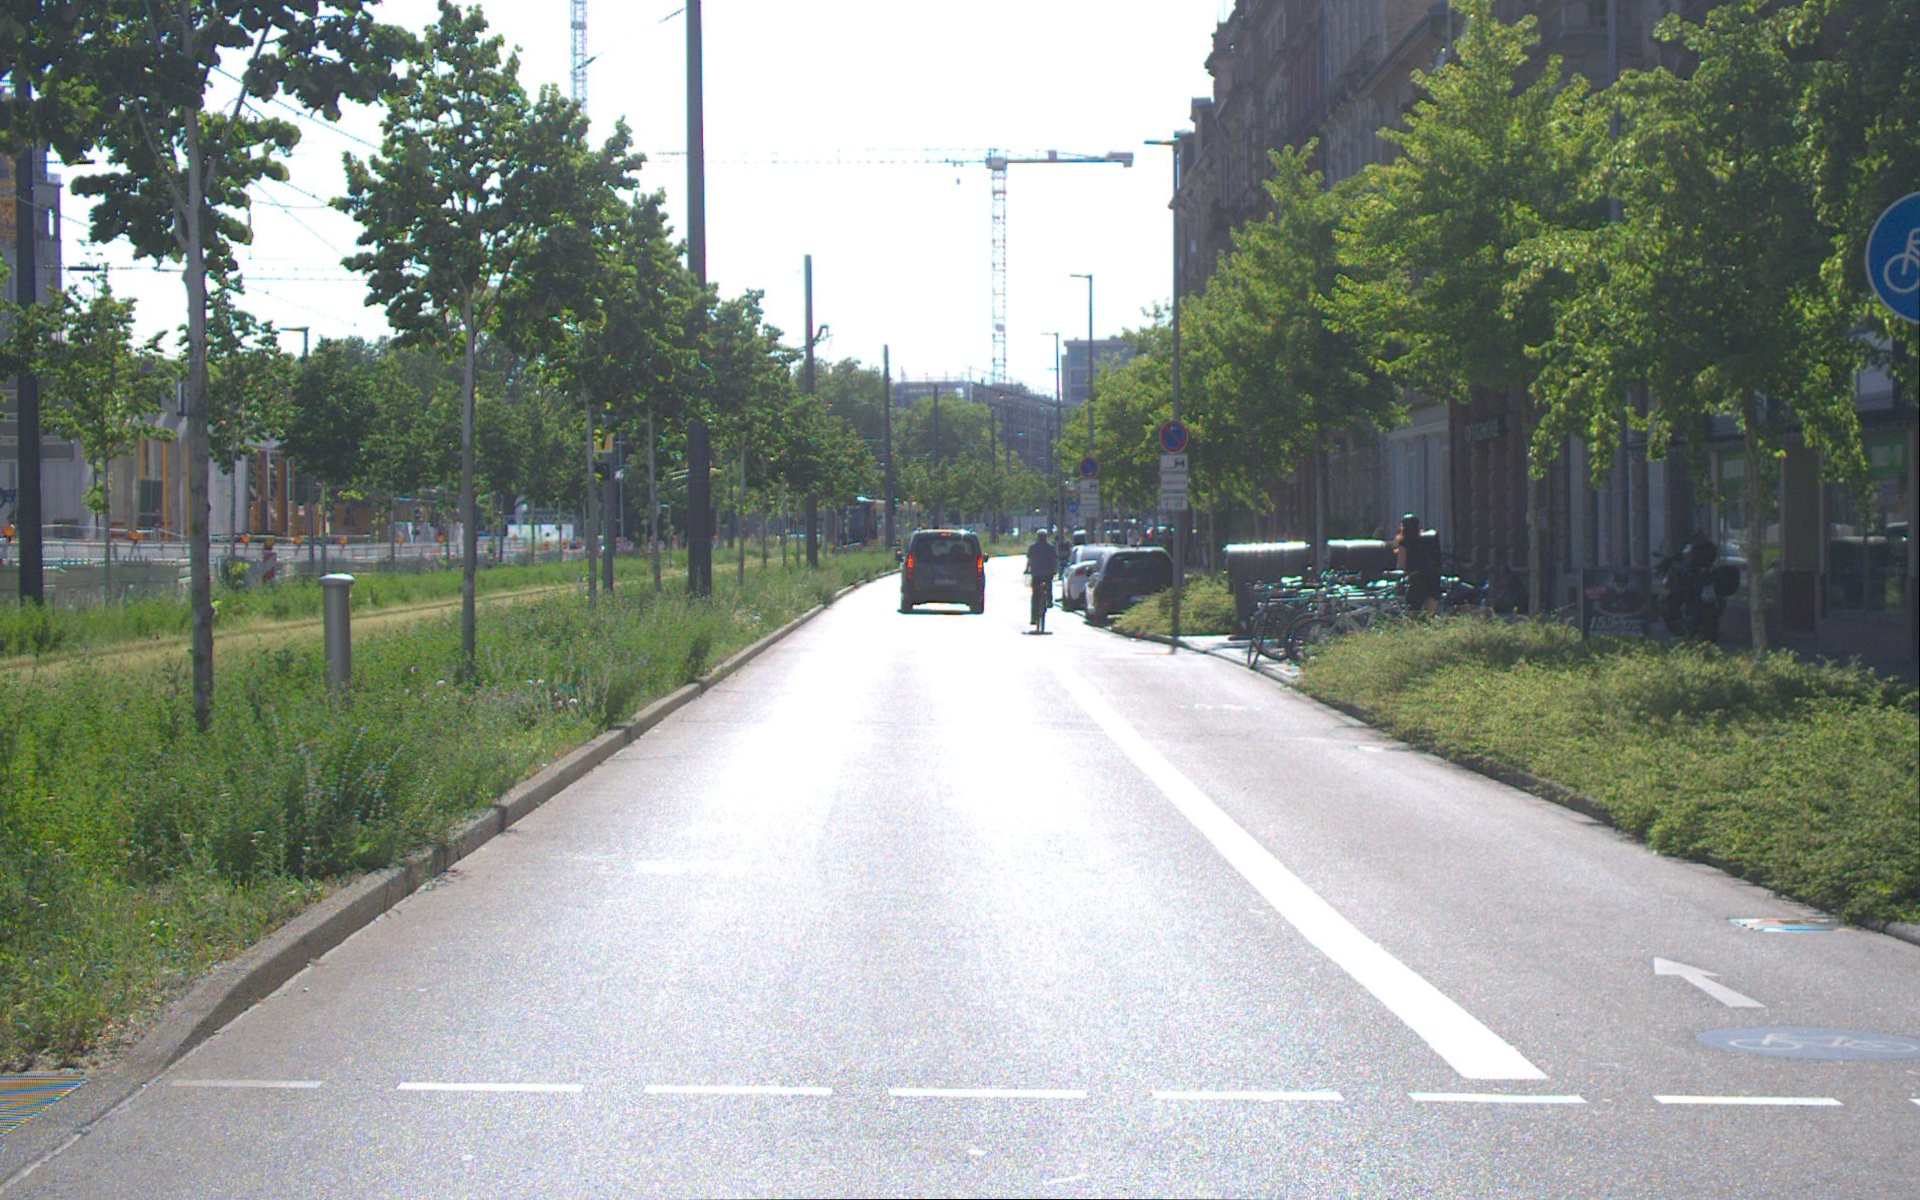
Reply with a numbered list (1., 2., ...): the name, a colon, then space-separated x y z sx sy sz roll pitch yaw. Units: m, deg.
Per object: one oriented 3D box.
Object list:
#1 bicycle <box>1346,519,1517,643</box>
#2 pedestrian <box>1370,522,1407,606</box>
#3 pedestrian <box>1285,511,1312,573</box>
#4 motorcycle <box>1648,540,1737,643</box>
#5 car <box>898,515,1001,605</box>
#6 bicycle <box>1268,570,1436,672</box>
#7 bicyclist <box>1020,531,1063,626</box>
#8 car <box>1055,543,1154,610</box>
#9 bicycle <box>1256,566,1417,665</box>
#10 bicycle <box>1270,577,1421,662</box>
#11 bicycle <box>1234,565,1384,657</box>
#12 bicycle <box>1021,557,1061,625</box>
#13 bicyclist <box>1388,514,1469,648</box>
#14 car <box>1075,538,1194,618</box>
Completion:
1. bicycle: 5.662 -0.229 41.228 1.895 1.326 0.617 -4 1 13
2. pedestrian: 8.264 -0.693 66.257 0.614 1.606 0.669 0 1 -1
3. pedestrian: 8.729 -1.503 88.744 0.614 1.606 0.669 0 1 -1
4. motorcycle: 9.399 -0.124 44.170 0.700 1.263 1.982 -1 1 -1
5. car: -0.263 -0.909 76.424 2.200 1.919 4.654 -1 1 -1
6. bicycle: 4.507 0.237 39.602 1.792 1.027 0.527 -5 1 0
7. bicyclist: 1.463 -0.395 61.702 0.684 1.667 0.922 2 1 -1
8. car: 3.330 -0.572 79.785 2.028 1.493 4.530 -1 1 -1
9. bicycle: 4.483 0.182 40.975 1.792 1.027 0.527 -5 1 0
10. bicycle: 4.765 0.239 42.541 1.792 1.027 0.527 0 1 0
11. bicycle: 4.458 0.134 43.948 1.792 1.027 0.527 -5 1 0
12. bicycle: 1.449 -0.170 61.458 0.601 1.177 1.869 2 1 -1
13. bicyclist: 5.627 -0.232 41.228 0.798 1.525 0.662 -4 1 13
14. car: 3.387 -0.455 67.411 2.028 1.493 4.654 -1 1 -1
